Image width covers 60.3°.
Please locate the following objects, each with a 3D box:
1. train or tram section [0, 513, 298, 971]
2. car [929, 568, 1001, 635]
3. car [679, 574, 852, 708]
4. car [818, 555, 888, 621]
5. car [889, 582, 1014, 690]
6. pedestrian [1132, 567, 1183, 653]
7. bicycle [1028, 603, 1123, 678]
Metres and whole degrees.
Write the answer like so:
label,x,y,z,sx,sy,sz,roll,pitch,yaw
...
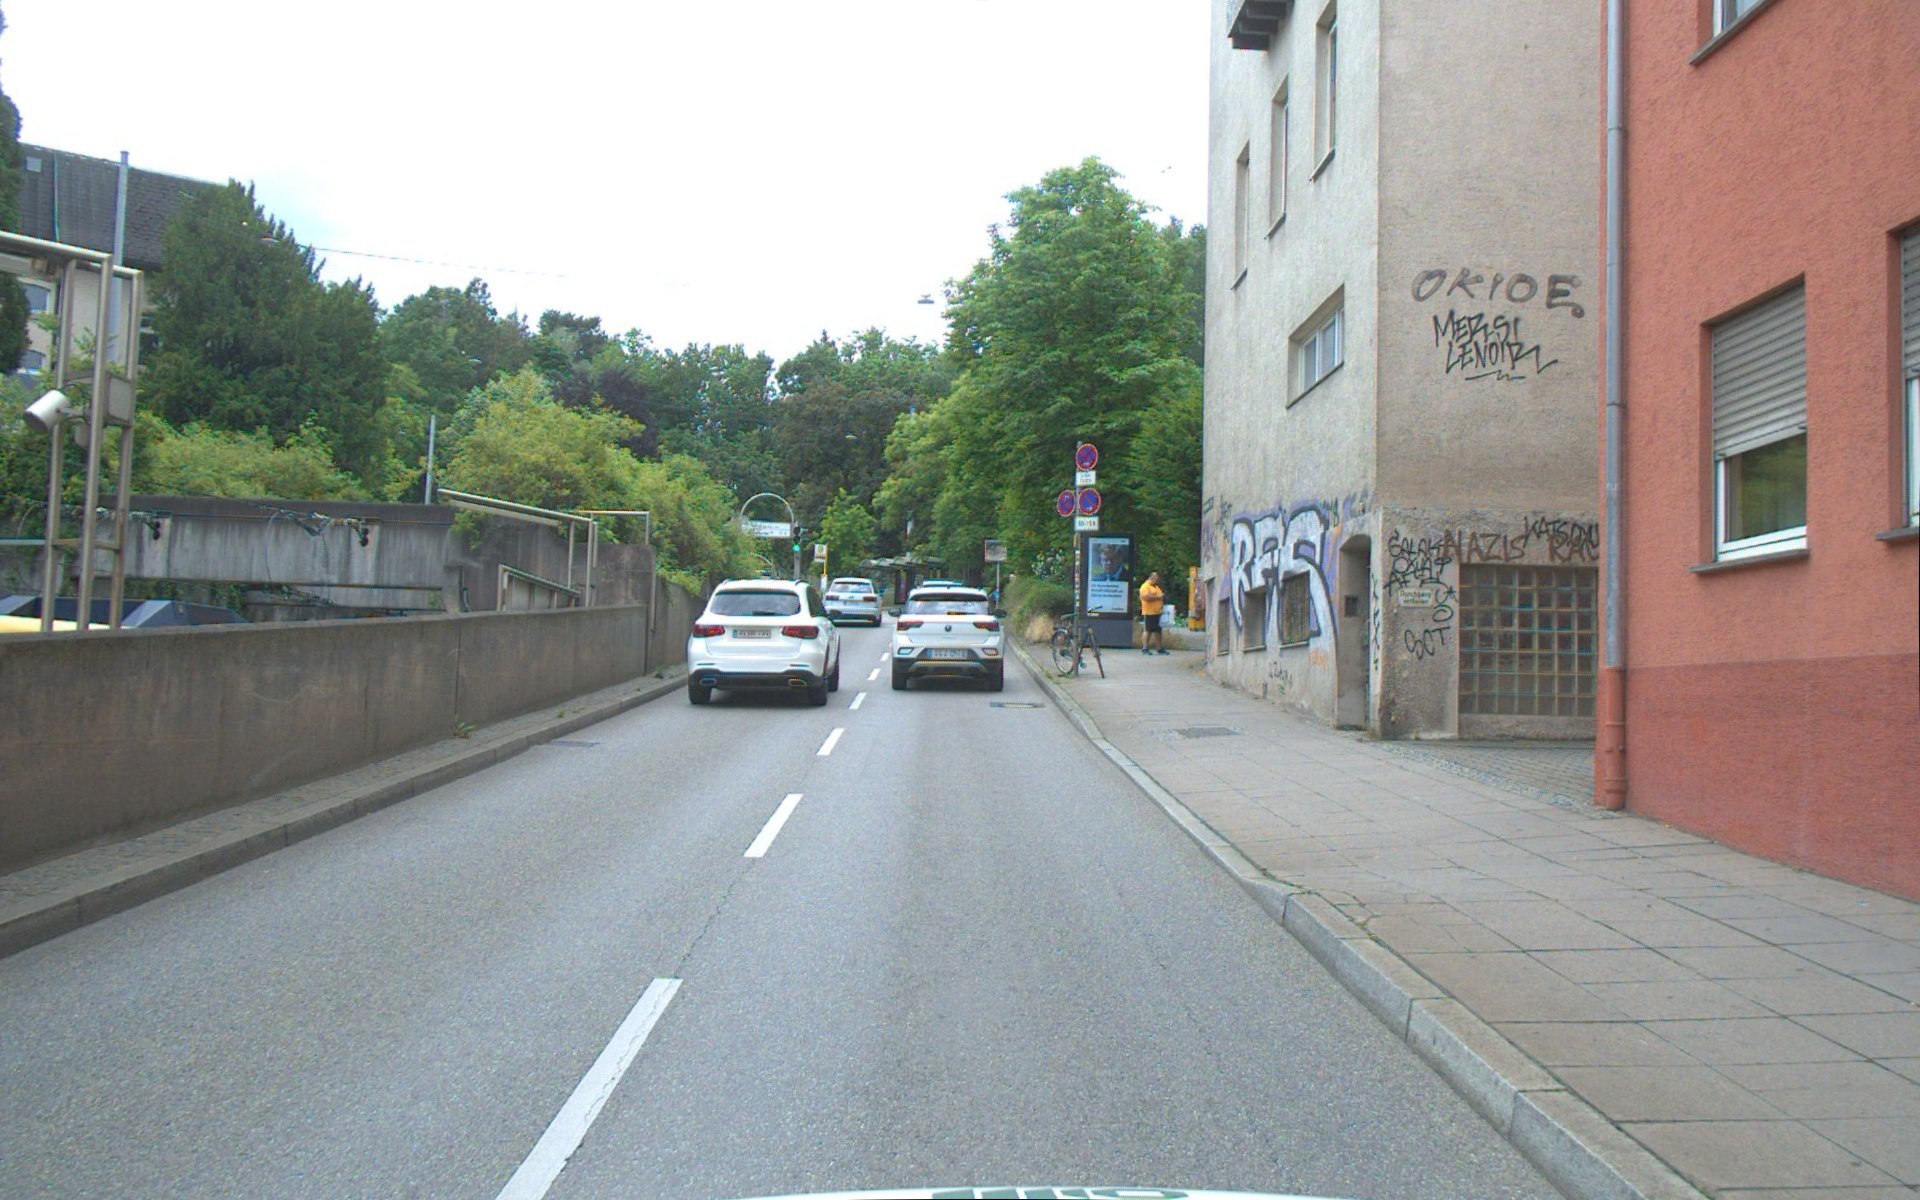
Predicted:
label,x,y,z,sx,sy,sz,roll,pitch,yaw
train or tram section,-8.893,1.076,12.358,2.890,3.570,12.981,1,-1,-1
car,0.109,0.028,44.299,1.823,1.660,3.958,1,0,-1
car,-2.620,0.518,23.233,1.838,1.681,4.341,1,0,1
car,-3.331,-0.379,52.017,1.953,1.914,3.999,3,0,-1
car,-0.115,0.531,26.694,1.826,1.583,3.894,1,0,0
pedestrian,4.067,0.199,34.143,0.819,1.742,0.818,0,0,-15
bicycle,1.855,0.637,26.881,0.630,1.163,2.049,1,0,-25
